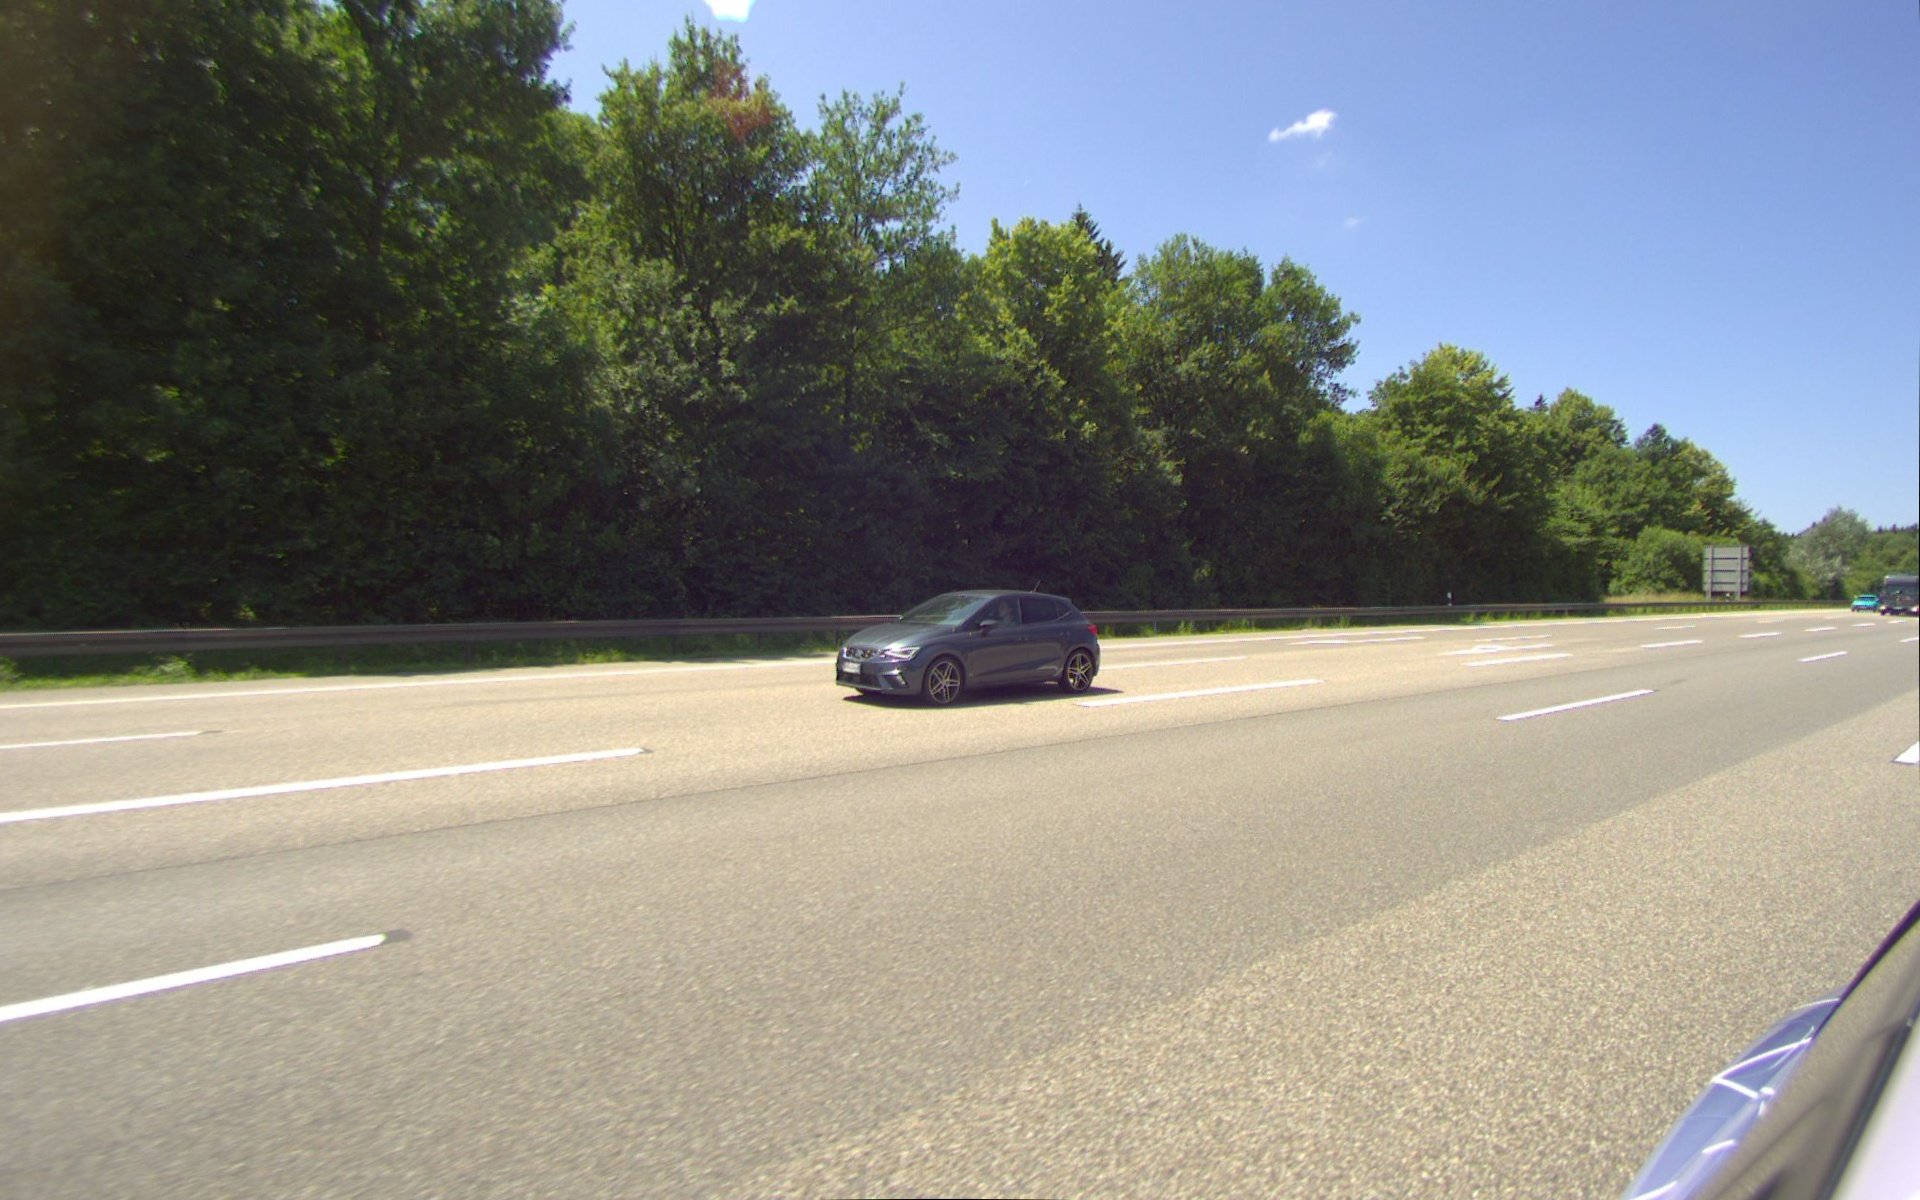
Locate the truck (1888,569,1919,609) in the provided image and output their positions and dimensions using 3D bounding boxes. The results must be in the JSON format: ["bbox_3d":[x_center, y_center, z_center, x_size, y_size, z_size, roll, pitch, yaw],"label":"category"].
[{"bbox_3d":[73.372,-0.841,76.884,10.689,2.891,2.660,0,2,-39],"label":"truck"}]

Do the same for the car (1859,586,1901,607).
[{"bbox_3d":[77.689,-0.300,85.477,4.053,1.701,1.998,0,2,-39],"label":"car"}]

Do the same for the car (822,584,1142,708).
[{"bbox_3d":[0.442,0.518,14.106,4.555,1.456,1.646,-1,2,-41],"label":"car"}]
